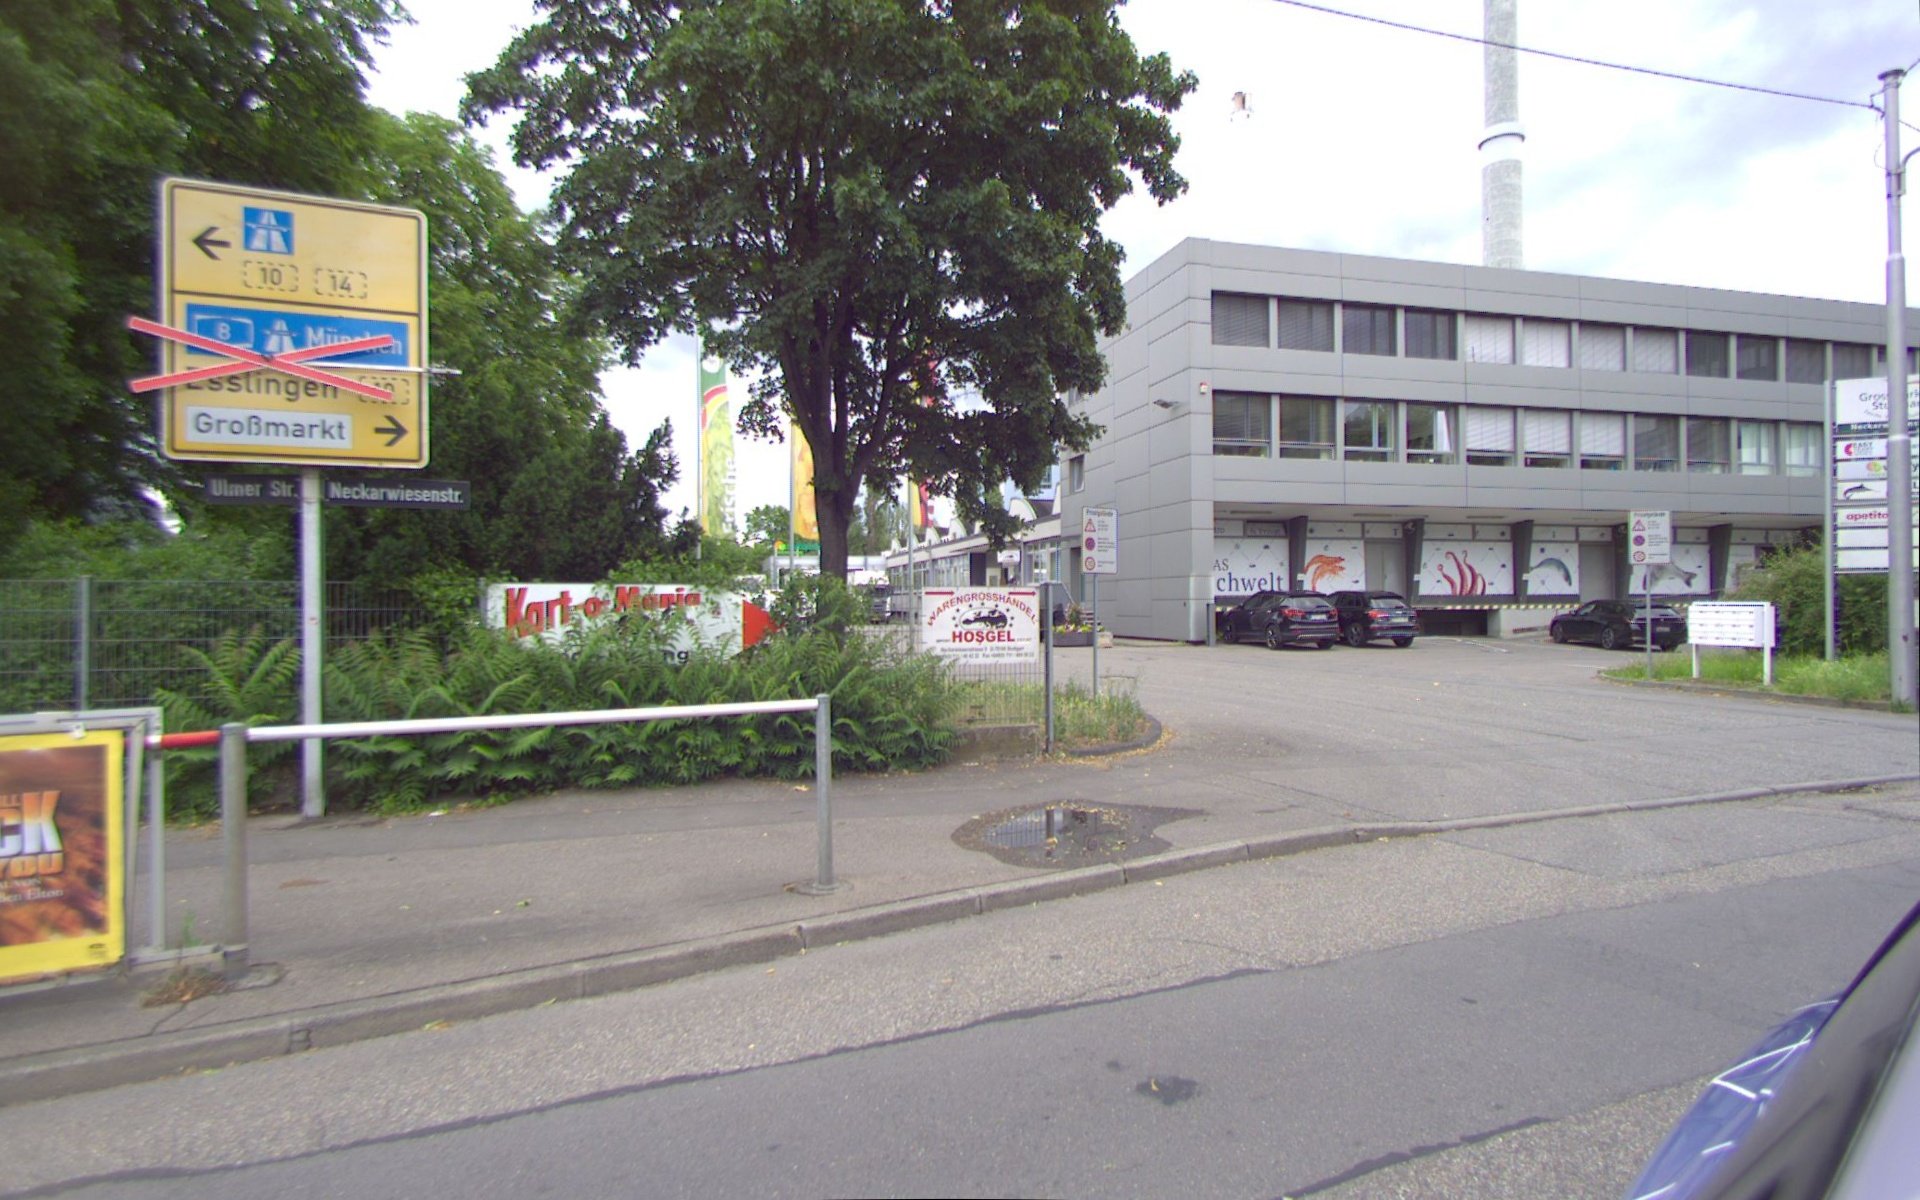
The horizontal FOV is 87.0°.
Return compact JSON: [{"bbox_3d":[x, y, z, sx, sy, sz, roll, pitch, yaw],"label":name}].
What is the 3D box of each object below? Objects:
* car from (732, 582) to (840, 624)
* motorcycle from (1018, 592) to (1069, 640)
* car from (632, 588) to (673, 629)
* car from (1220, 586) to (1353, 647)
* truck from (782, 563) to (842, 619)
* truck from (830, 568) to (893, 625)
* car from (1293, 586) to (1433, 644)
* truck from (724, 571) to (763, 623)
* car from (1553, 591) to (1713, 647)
[{"bbox_3d":[-11.644,0.189,67.741,7.004,2.767,2.248,0,-1,-13],"label":"car"},{"bbox_3d":[3.090,0.561,37.260,1.181,1.676,2.875,0,0,19],"label":"motorcycle"},{"bbox_3d":[-19.881,0.508,65.619,2.262,2.511,6.939,0,0,-15],"label":"car"},{"bbox_3d":[9.661,0.419,30.320,1.800,1.638,4.474,0,1,-12],"label":"car"},{"bbox_3d":[-11.891,-0.638,79.904,2.792,3.983,15.759,0,0,-15],"label":"truck"},{"bbox_3d":[-8.112,-0.238,80.909,2.812,4.076,15.880,0,0,-14],"label":"truck"},{"bbox_3d":[12.281,0.398,31.213,1.800,1.638,4.433,0,1,-13],"label":"car"},{"bbox_3d":[-18.729,-0.271,87.114,2.937,4.218,9.207,0,0,-14],"label":"truck"},{"bbox_3d":[20.568,0.521,31.210,2.014,1.463,4.824,0,2,5],"label":"car"}]
